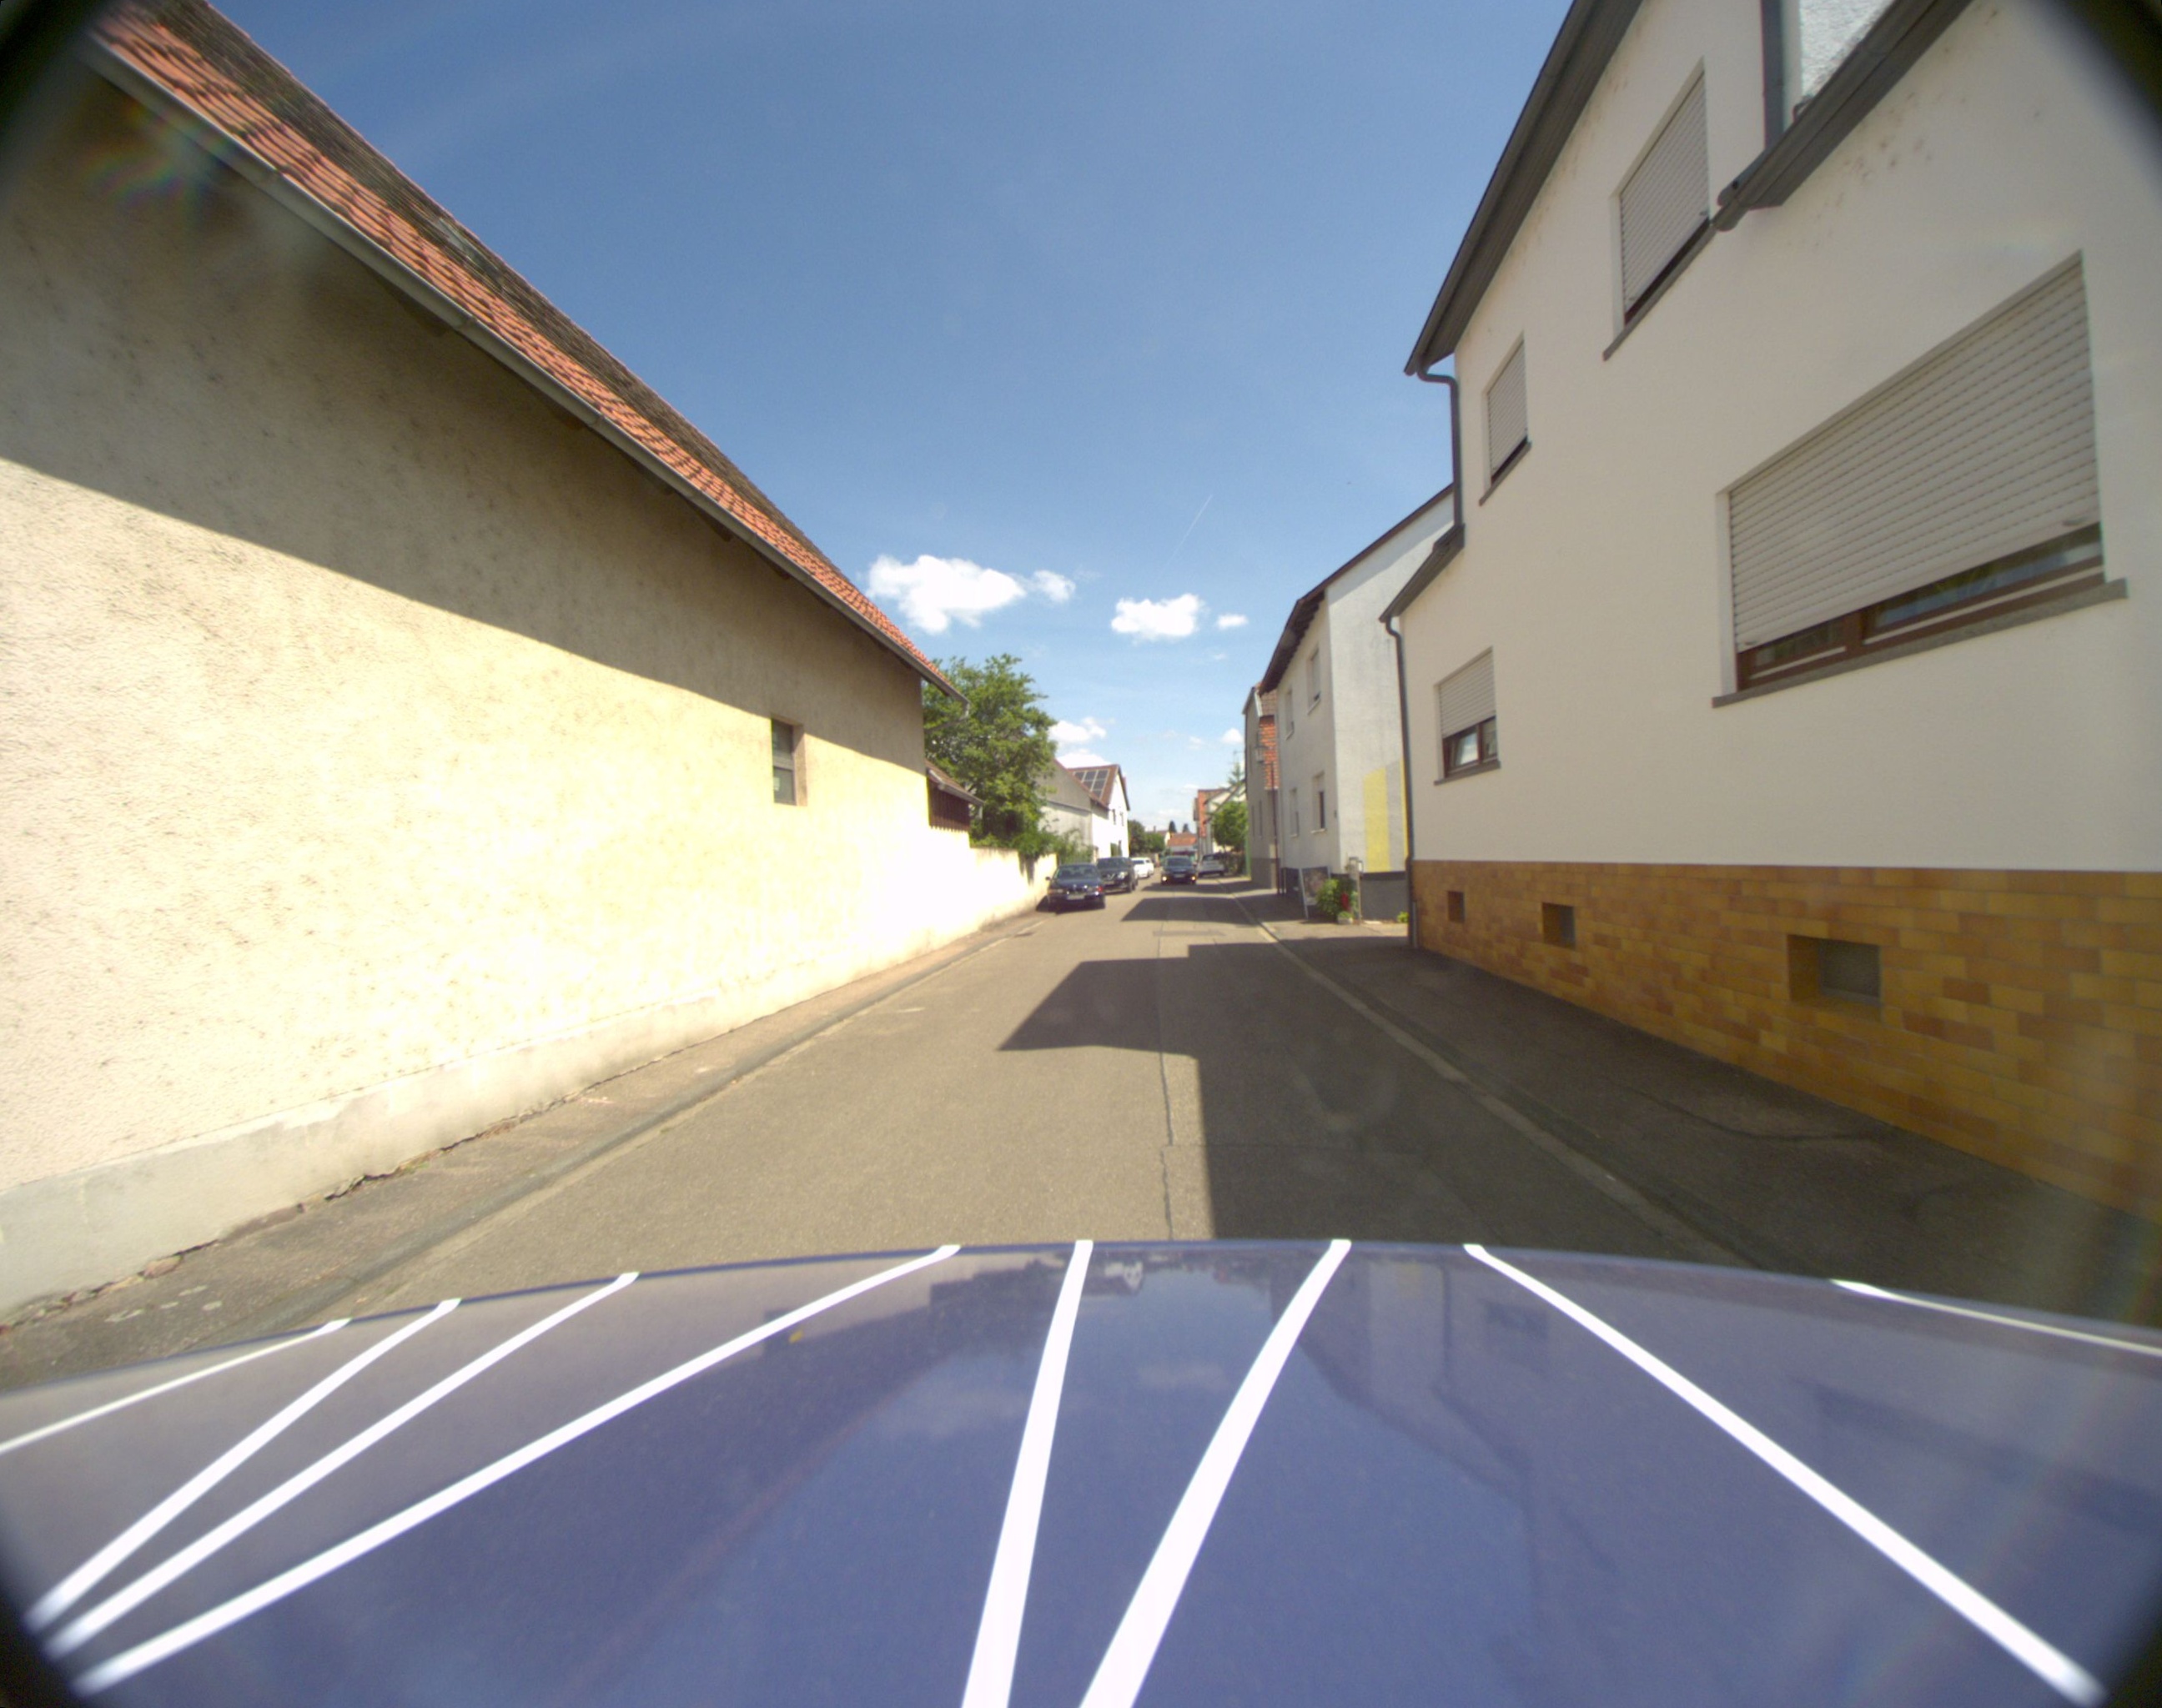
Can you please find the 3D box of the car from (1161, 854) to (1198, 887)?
[{"bbox_3d":[5.235,0.808,40.117,1.784,1.527,4.712,-2,0,8],"label":"car"}]

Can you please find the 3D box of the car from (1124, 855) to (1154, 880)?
[{"bbox_3d":[4.143,0.907,53.702,1.784,1.491,4.041,-5,0,8],"label":"car"}]

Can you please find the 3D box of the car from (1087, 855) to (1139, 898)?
[{"bbox_3d":[1.470,0.923,33.445,1.784,1.600,4.002,-5,0,8],"label":"car"}]

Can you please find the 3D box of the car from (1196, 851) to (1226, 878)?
[{"bbox_3d":[8.915,0.701,52.272,1.784,1.600,4.002,-5,0,8],"label":"car"}]

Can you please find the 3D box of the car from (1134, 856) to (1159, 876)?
[{"bbox_3d":[5.731,1.009,66.090,1.784,1.491,4.041,-5,0,8],"label":"car"}]

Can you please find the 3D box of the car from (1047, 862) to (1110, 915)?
[{"bbox_3d":[-0.034,1.037,24.340,1.784,1.470,4.000,-2,0,1],"label":"car"}]
